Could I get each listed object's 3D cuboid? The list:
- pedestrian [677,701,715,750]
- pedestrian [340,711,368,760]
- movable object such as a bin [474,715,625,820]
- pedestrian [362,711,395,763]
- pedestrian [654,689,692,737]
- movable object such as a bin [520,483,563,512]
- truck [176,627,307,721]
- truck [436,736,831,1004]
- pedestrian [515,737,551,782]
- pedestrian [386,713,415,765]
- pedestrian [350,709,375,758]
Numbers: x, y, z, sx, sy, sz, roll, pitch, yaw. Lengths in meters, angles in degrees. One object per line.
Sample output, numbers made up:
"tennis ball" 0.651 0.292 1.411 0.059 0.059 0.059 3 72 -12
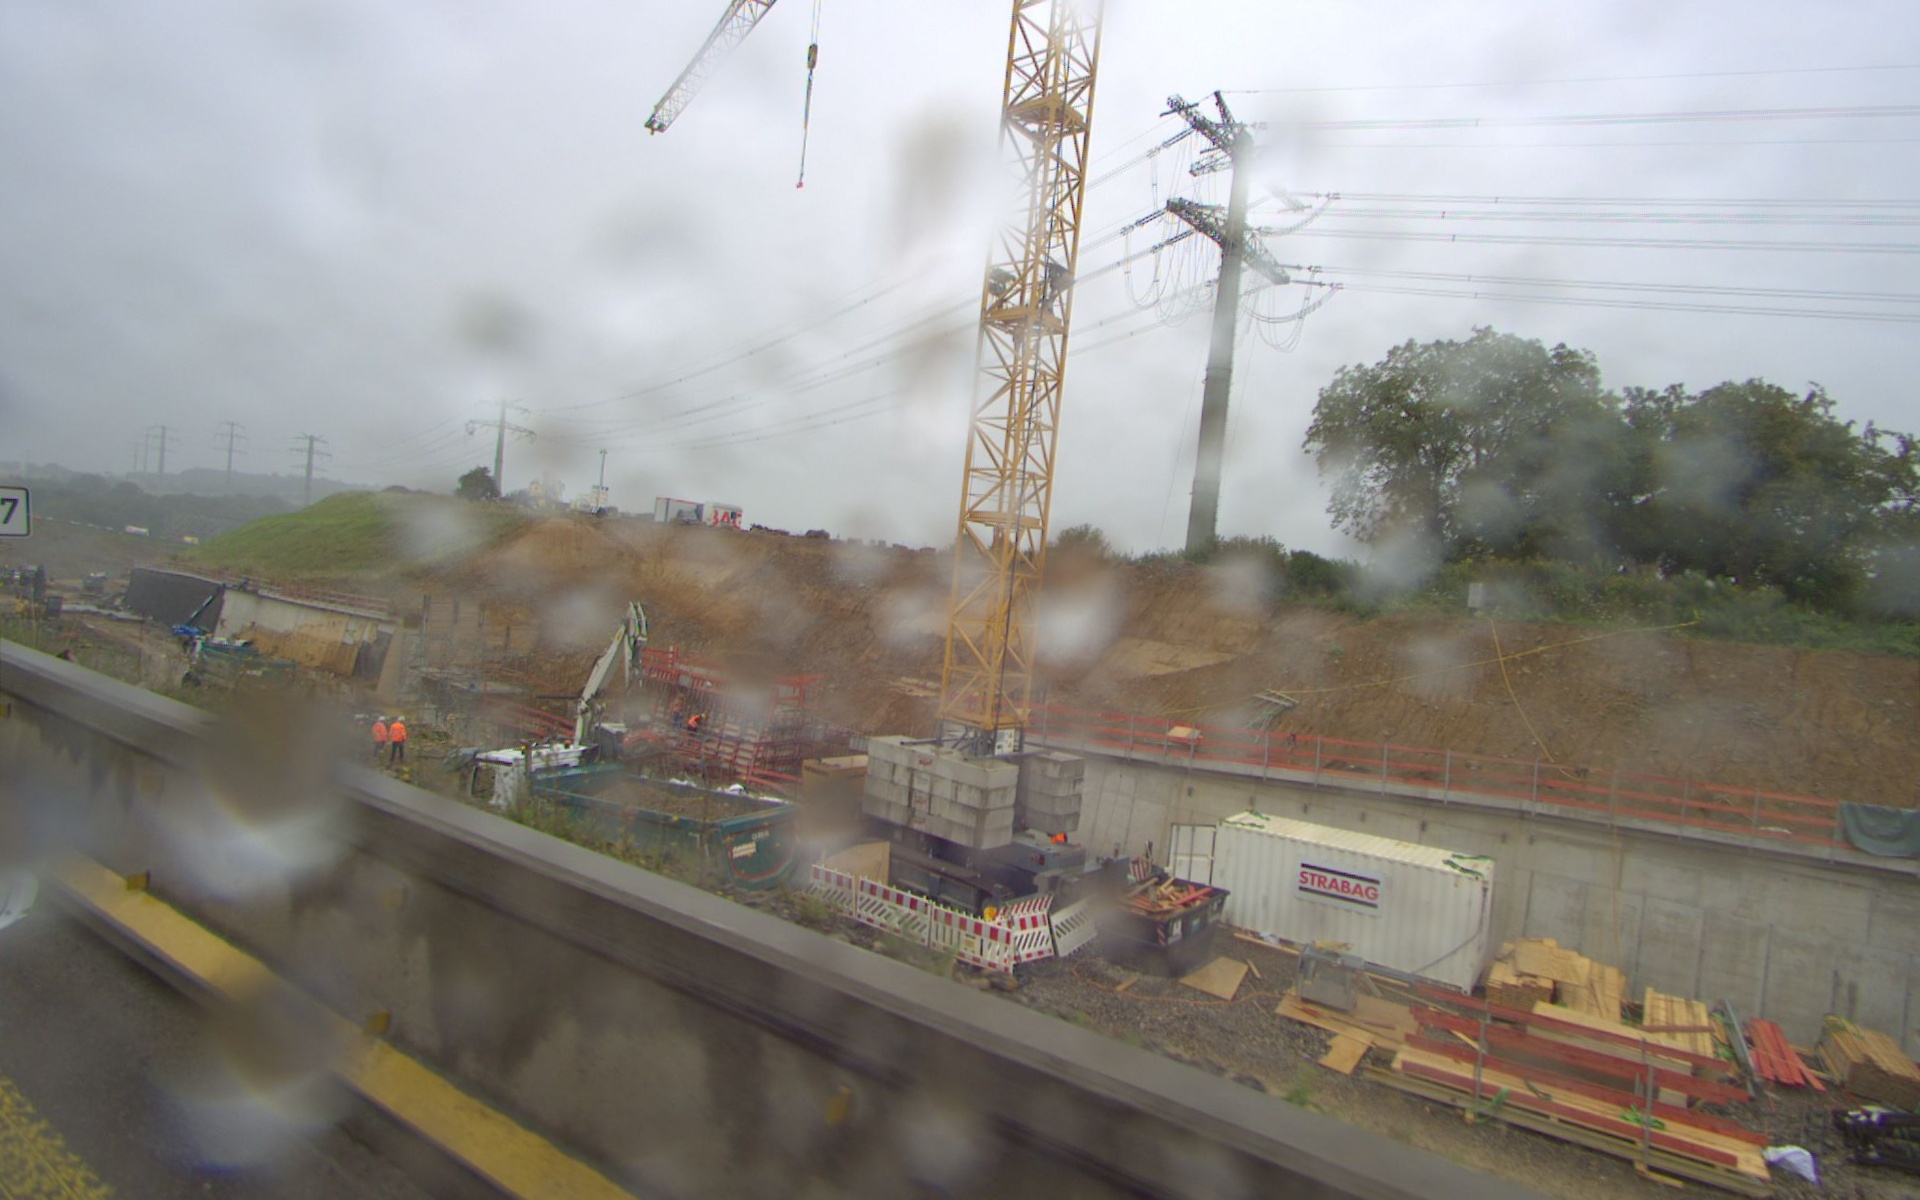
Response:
"pedestrian" -12.370 5.875 47.137 0.886 2.012 0.907 5 -12 38
"pedestrian" -24.720 5.540 41.033 0.725 1.891 0.573 6 -2 40
"movable object such as a bin" -13.306 5.362 32.701 2.921 2.768 3.155 6 -3 34
"pedestrian" -23.711 5.576 41.022 0.721 1.966 0.576 7 -1 6
"pedestrian" -13.779 5.429 48.310 0.886 2.012 0.907 5 -12 38
"movable object such as a bin" -43.457 -10.668 104.490 3.912 2.472 2.428 8 -1 42
"truck" -36.494 3.651 50.921 8.932 3.530 2.731 5 -3 39
"truck" -7.324 5.428 21.953 8.798 3.543 2.706 6 -2 31
"pedestrian" -21.945 8.194 51.658 0.892 2.012 0.901 5 -12 37
"pedestrian" -22.925 5.692 41.213 0.725 1.966 0.573 8 -1 -18
"pedestrian" -24.929 5.561 41.991 0.567 1.891 0.732 8 -1 -20
